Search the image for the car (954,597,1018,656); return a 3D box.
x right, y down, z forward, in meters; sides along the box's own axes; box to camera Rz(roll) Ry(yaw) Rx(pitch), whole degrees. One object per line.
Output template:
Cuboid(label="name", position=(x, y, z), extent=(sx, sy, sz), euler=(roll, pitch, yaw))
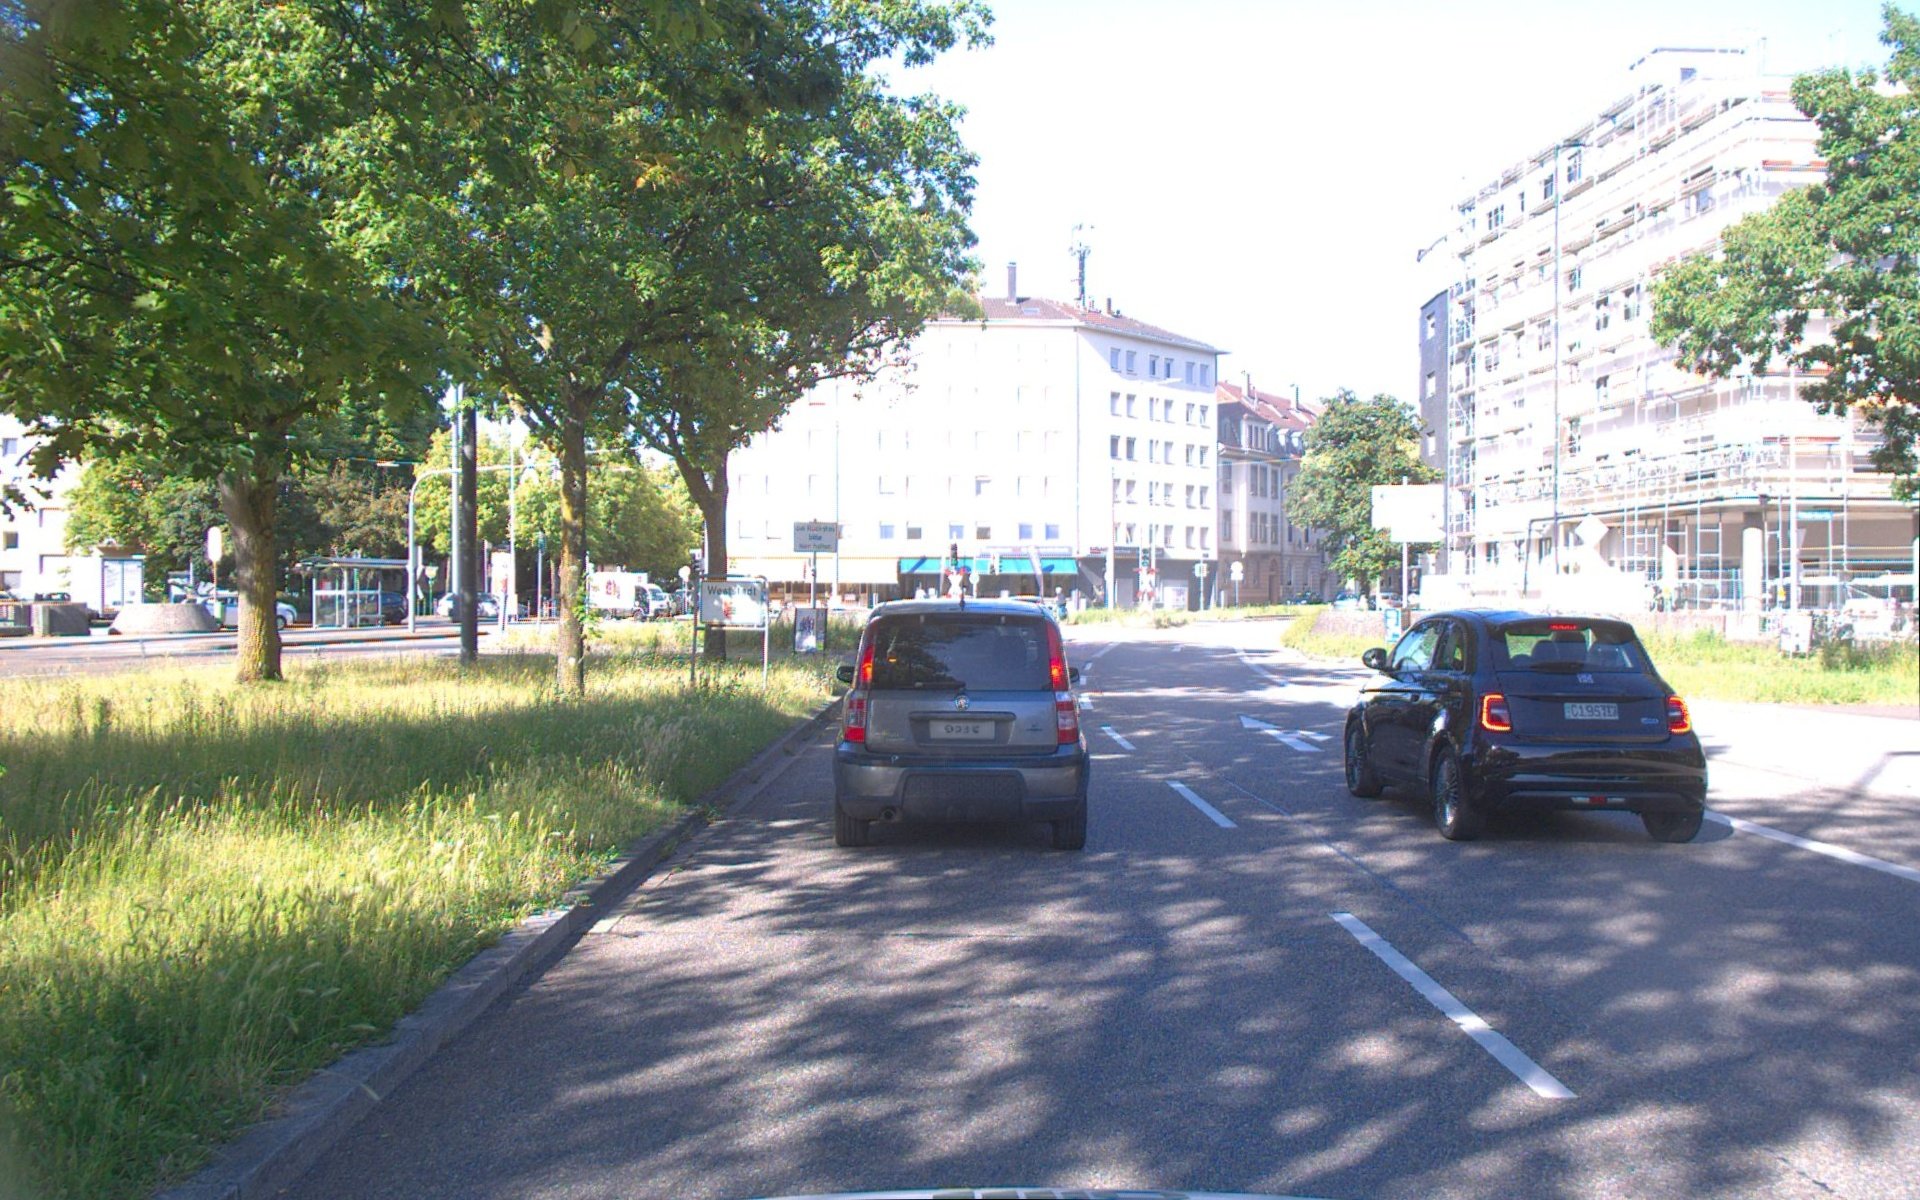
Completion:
Cuboid(label="car", position=(0.672, 0.659, 42.825), extent=(1.612, 1.463, 3.396), euler=(0, 0, 1))

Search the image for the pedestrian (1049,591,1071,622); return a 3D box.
Cuboid(label="pedestrian", position=(4.692, 0.299, 77.418), extent=(0.760, 1.452, 0.935), euler=(1, -1, -14))

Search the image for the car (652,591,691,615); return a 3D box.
Cuboid(label="car", position=(-19.537, 0.184, 112.297), extent=(1.896, 1.539, 3.940), euler=(0, 0, 1))

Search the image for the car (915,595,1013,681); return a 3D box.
Cuboid(label="car", position=(0.017, 0.676, 31.888), extent=(1.724, 1.512, 4.292), euler=(0, 0, -2))

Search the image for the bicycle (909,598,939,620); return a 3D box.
Cuboid(label="bicycle", position=(-1.874, 0.468, 86.141), extent=(1.552, 1.109, 0.530), euler=(0, 0, 34))

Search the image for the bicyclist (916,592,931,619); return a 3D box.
Cuboid(label="bicyclist", position=(-1.896, 0.290, 86.157), extent=(0.585, 1.380, 0.530), euler=(0, 0, 33))

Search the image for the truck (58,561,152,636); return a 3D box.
Cuboid(label="truck", position=(-35.941, -0.093, 69.494), extent=(4.743, 3.047, 1.988), euler=(1, 1, 42))

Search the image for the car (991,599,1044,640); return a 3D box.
Cuboid(label="car", position=(1.895, 0.640, 54.042), extent=(1.655, 1.275, 3.627), euler=(0, -1, 2))

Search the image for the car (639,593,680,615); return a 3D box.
Cuboid(label="car", position=(-18.931, 0.252, 104.353), extent=(1.953, 1.333, 3.999), euler=(0, 0, -1))

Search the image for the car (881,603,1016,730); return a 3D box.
Cuboid(label="car", position=(-0.165, 0.789, 21.359), extent=(1.588, 1.454, 3.687), euler=(0, 0, -1))

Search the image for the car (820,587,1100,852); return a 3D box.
Cuboid(label="car", position=(0.027, 0.686, 11.246), extent=(1.625, 1.536, 3.252), euler=(0, 0, 1))

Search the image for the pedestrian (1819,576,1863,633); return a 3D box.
Cuboid(label="pedestrian", position=(23.830, 0.116, 44.748), extent=(0.637, 1.523, 0.907), euler=(0, 0, -9))

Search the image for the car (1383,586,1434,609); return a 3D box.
Cuboid(label="car", position=(31.968, -0.188, 117.973), extent=(1.872, 1.621, 3.986), euler=(0, 0, -13))

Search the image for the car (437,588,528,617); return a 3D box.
Cuboid(label="car", position=(-24.766, 0.139, 85.891), extent=(4.301, 1.474, 1.667), euler=(0, 0, -4))

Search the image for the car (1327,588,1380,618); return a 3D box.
Cuboid(label="car", position=(20.755, 0.146, 87.168), extent=(1.742, 1.468, 3.610), euler=(1, 1, 31))

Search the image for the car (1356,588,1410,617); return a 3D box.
Cuboid(label="car", position=(23.386, 0.099, 91.336), extent=(1.787, 1.534, 3.990), euler=(0, 1, 32))

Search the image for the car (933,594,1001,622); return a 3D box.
Cuboid(label="car", position=(0.314, 0.356, 78.054), extent=(1.964, 1.264, 3.977), euler=(0, 0, -20))

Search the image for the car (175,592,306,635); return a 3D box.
Cuboid(label="car", position=(-29.153, 0.526, 67.096), extent=(1.840, 1.570, 4.521), euler=(4, 3, 42))

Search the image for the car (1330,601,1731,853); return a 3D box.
Cuboid(label="car", position=(3.938, 0.788, 12.045), extent=(1.640, 1.529, 3.561), euler=(0, 0, -1))

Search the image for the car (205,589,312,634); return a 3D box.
Cuboid(label="car", position=(-29.697, 0.478, 70.017), extent=(3.948, 1.747, 1.745), euler=(1, 2, -32))

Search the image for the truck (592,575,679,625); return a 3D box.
Cuboid(label="truck", position=(-16.584, -0.013, 84.500), extent=(4.011, 2.469, 1.794), euler=(0, 0, 19))

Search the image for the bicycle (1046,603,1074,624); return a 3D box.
Cuboid(label="bicycle", position=(4.670, 0.623, 77.452), extent=(0.769, 0.968, 1.849), euler=(1, -1, -14))
